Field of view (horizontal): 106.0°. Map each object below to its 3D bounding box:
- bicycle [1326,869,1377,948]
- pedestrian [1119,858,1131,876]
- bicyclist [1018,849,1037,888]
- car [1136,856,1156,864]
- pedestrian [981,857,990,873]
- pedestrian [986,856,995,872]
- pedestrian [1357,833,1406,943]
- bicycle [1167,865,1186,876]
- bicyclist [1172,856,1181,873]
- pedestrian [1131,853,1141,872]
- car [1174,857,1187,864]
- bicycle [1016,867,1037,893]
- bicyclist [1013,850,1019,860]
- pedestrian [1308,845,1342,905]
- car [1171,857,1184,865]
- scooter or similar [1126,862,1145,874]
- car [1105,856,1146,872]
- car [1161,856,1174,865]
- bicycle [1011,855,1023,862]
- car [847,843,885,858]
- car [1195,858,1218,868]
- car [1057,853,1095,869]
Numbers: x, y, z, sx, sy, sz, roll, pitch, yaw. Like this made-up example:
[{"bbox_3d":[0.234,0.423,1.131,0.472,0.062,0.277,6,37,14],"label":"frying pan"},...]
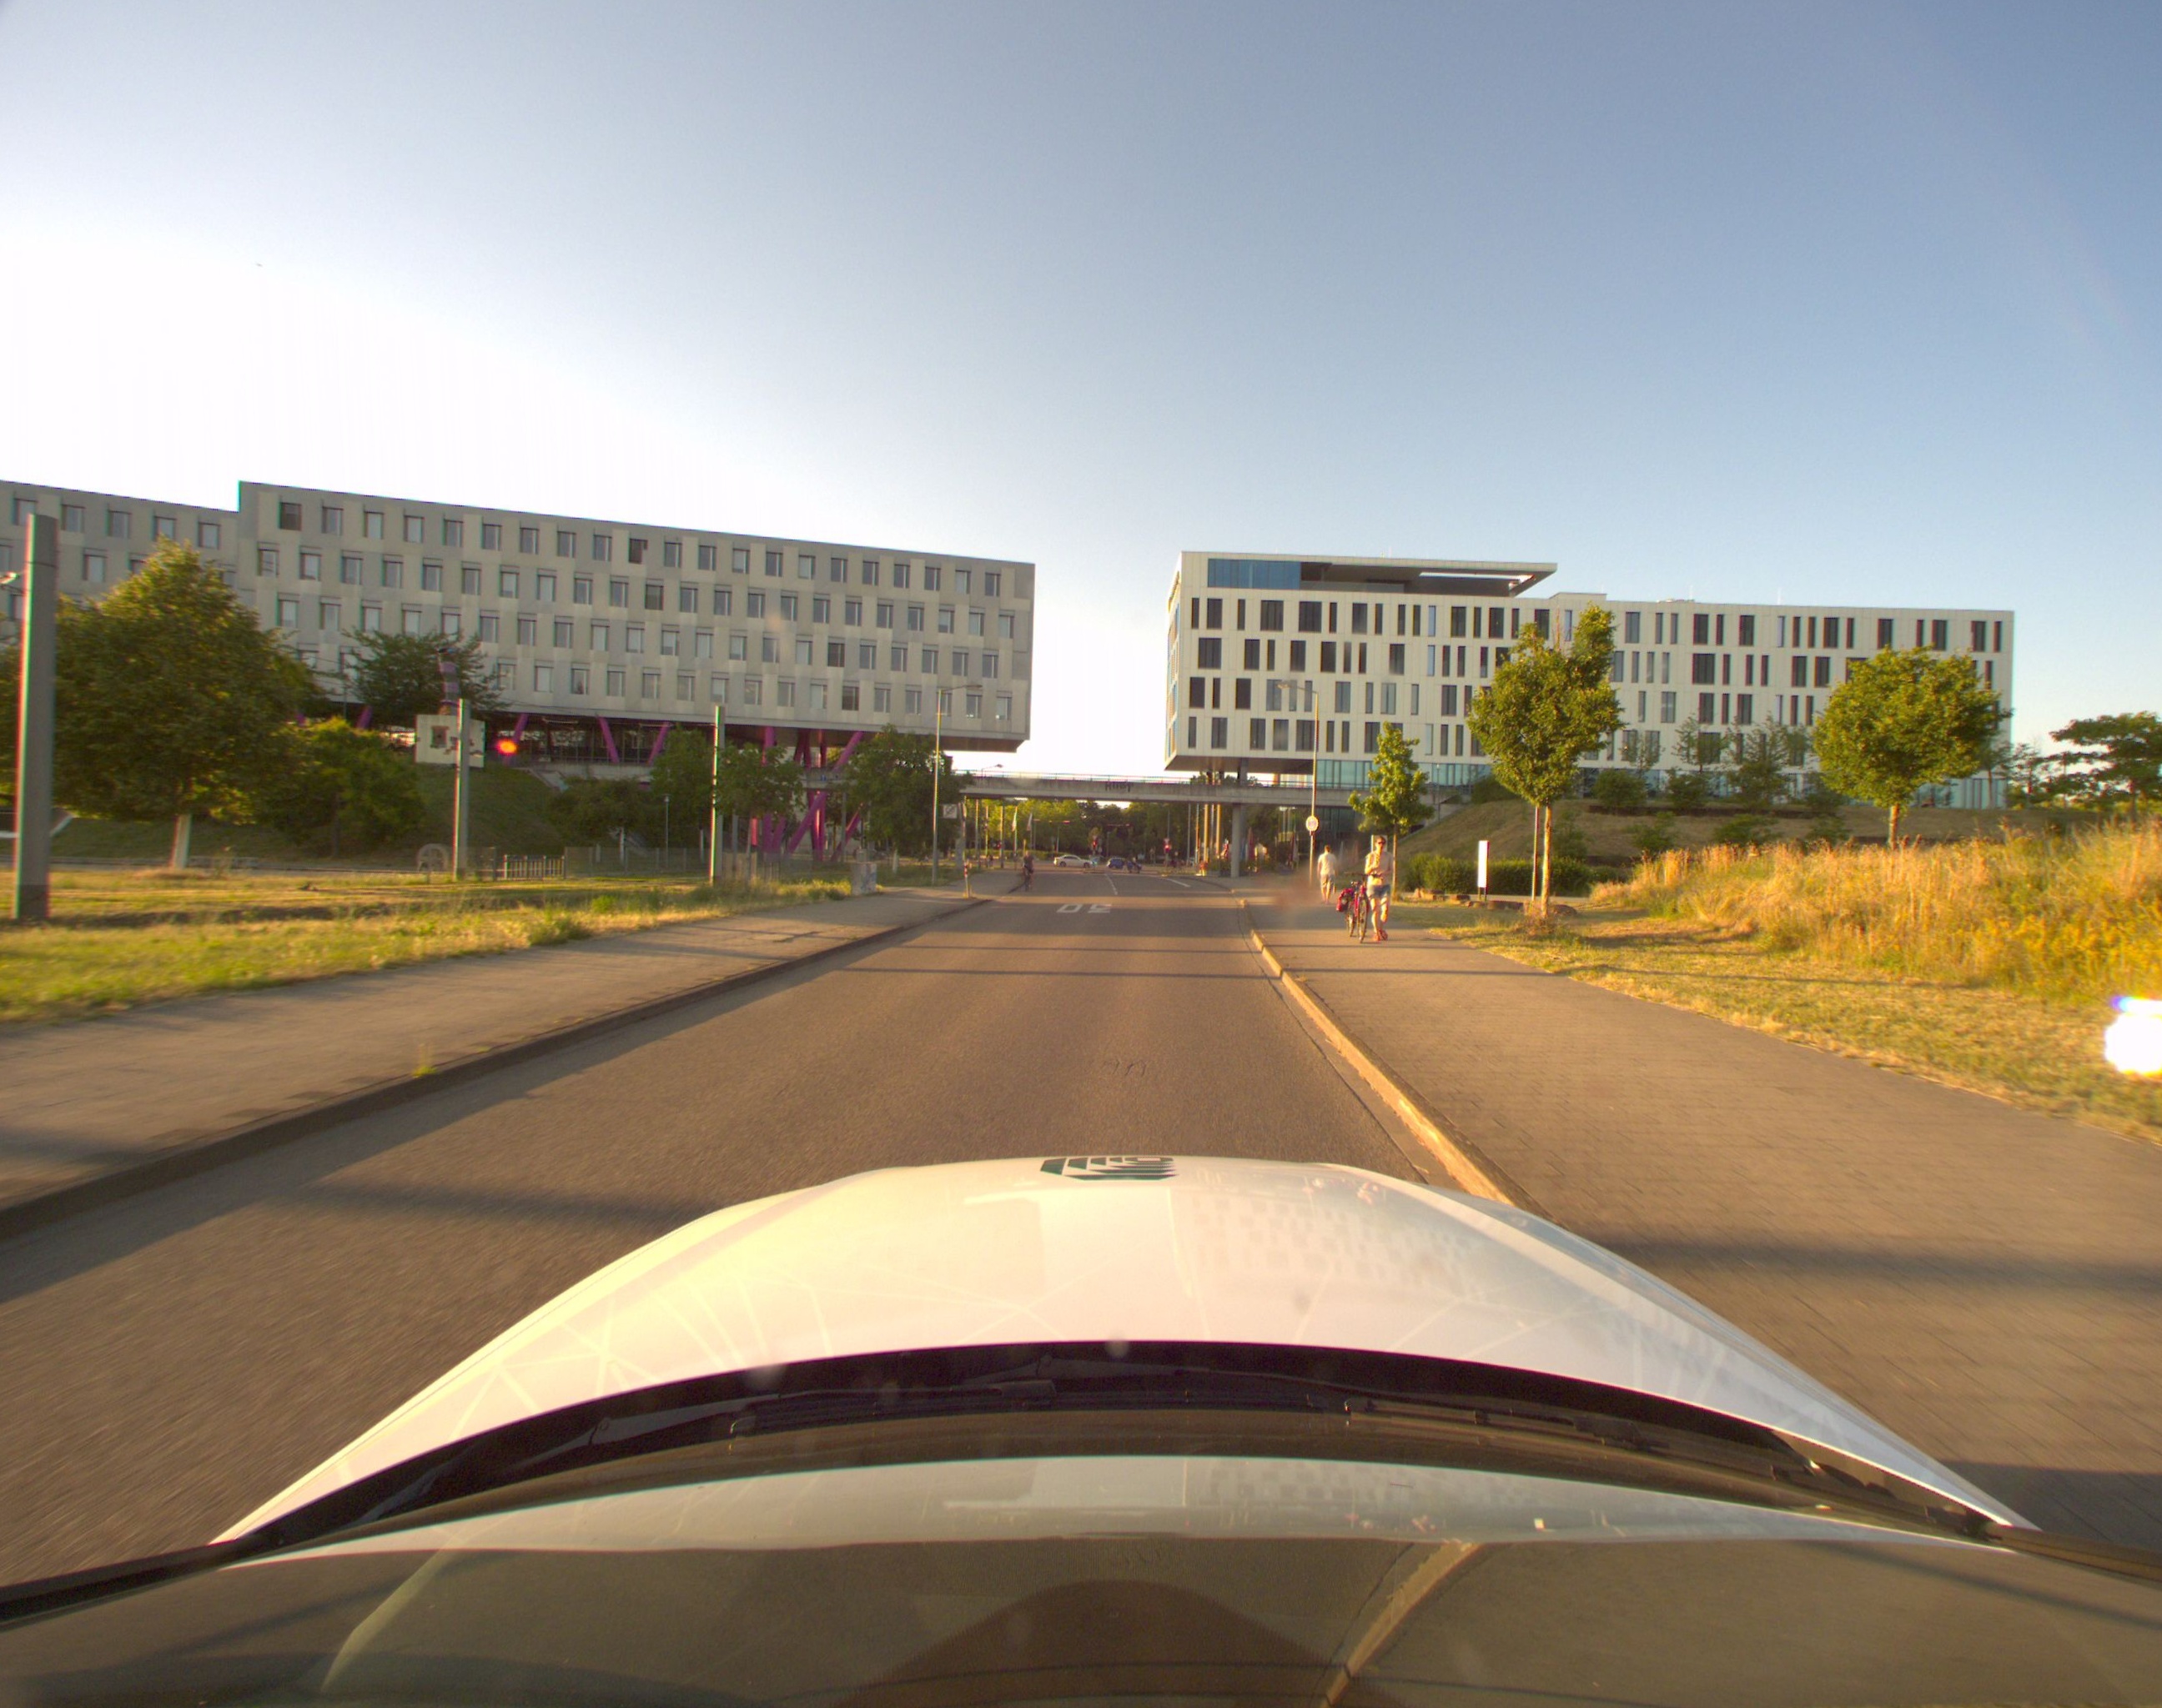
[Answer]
[{"bbox_3d":[4.587,0.884,13.890,0.447,1.168,1.945,2,1,8],"label":"bicycle"},{"bbox_3d":[4.597,1.351,85.289,1.054,1.833,0.892,1,1,-12],"label":"pedestrian"},{"bbox_3d":[-2.332,0.629,35.615,0.611,1.662,1.038,2,1,6],"label":"bicyclist"},{"bbox_3d":[15.623,1.453,195.542,4.658,1.869,2.018,2,1,8],"label":"car"},{"bbox_3d":[-10.044,1.132,85.420,0.680,1.624,0.715,2,1,19],"label":"pedestrian"},{"bbox_3d":[-9.601,1.087,86.141,0.694,1.664,0.715,2,1,19],"label":"pedestrian"},{"bbox_3d":[5.098,0.557,13.860,0.591,1.801,0.820,2,1,9],"label":"pedestrian"},{"bbox_3d":[10.315,1.732,87.810,1.961,1.092,0.623,2,1,5],"label":"bicycle"},{"bbox_3d":[10.312,1.138,87.802,0.856,1.731,0.606,2,1,6],"label":"bicyclist"},{"bbox_3d":[5.912,0.920,88.053,0.908,1.990,0.770,1,1,-7],"label":"pedestrian"},{"bbox_3d":[21.463,1.392,175.836,1.483,1.606,3.424,2,1,28],"label":"car"},{"bbox_3d":[-2.361,1.111,35.546,0.536,1.043,1.929,2,1,7],"label":"bicycle"},{"bbox_3d":[-11.110,0.134,139.184,0.760,1.723,0.548,1,1,-24],"label":"bicyclist"},{"bbox_3d":[7.399,0.626,24.712,0.826,1.766,0.820,2,1,9],"label":"pedestrian"},{"bbox_3d":[20.436,1.424,172.340,1.483,1.606,3.424,2,1,28],"label":"car"},{"bbox_3d":[5.874,1.499,88.054,1.858,1.174,0.762,1,1,-7],"label":"scooter or similar"},{"bbox_3d":[5.407,1.239,99.266,4.710,1.828,1.888,1,1,-8],"label":"car"},{"bbox_3d":[17.903,1.353,168.380,1.483,1.760,3.424,2,1,28],"label":"car"},{"bbox_3d":[-10.939,0.772,139.292,1.971,1.128,0.556,1,1,-24],"label":"bicycle"},{"bbox_3d":[-28.207,-0.411,107.009,4.452,1.816,1.945,1,1,0],"label":"car"},{"bbox_3d":[24.921,1.697,161.645,4.443,1.816,1.949,2,1,7],"label":"car"},{"bbox_3d":[-0.594,0.830,102.291,4.668,1.828,1.836,2,1,2],"label":"car"}]
